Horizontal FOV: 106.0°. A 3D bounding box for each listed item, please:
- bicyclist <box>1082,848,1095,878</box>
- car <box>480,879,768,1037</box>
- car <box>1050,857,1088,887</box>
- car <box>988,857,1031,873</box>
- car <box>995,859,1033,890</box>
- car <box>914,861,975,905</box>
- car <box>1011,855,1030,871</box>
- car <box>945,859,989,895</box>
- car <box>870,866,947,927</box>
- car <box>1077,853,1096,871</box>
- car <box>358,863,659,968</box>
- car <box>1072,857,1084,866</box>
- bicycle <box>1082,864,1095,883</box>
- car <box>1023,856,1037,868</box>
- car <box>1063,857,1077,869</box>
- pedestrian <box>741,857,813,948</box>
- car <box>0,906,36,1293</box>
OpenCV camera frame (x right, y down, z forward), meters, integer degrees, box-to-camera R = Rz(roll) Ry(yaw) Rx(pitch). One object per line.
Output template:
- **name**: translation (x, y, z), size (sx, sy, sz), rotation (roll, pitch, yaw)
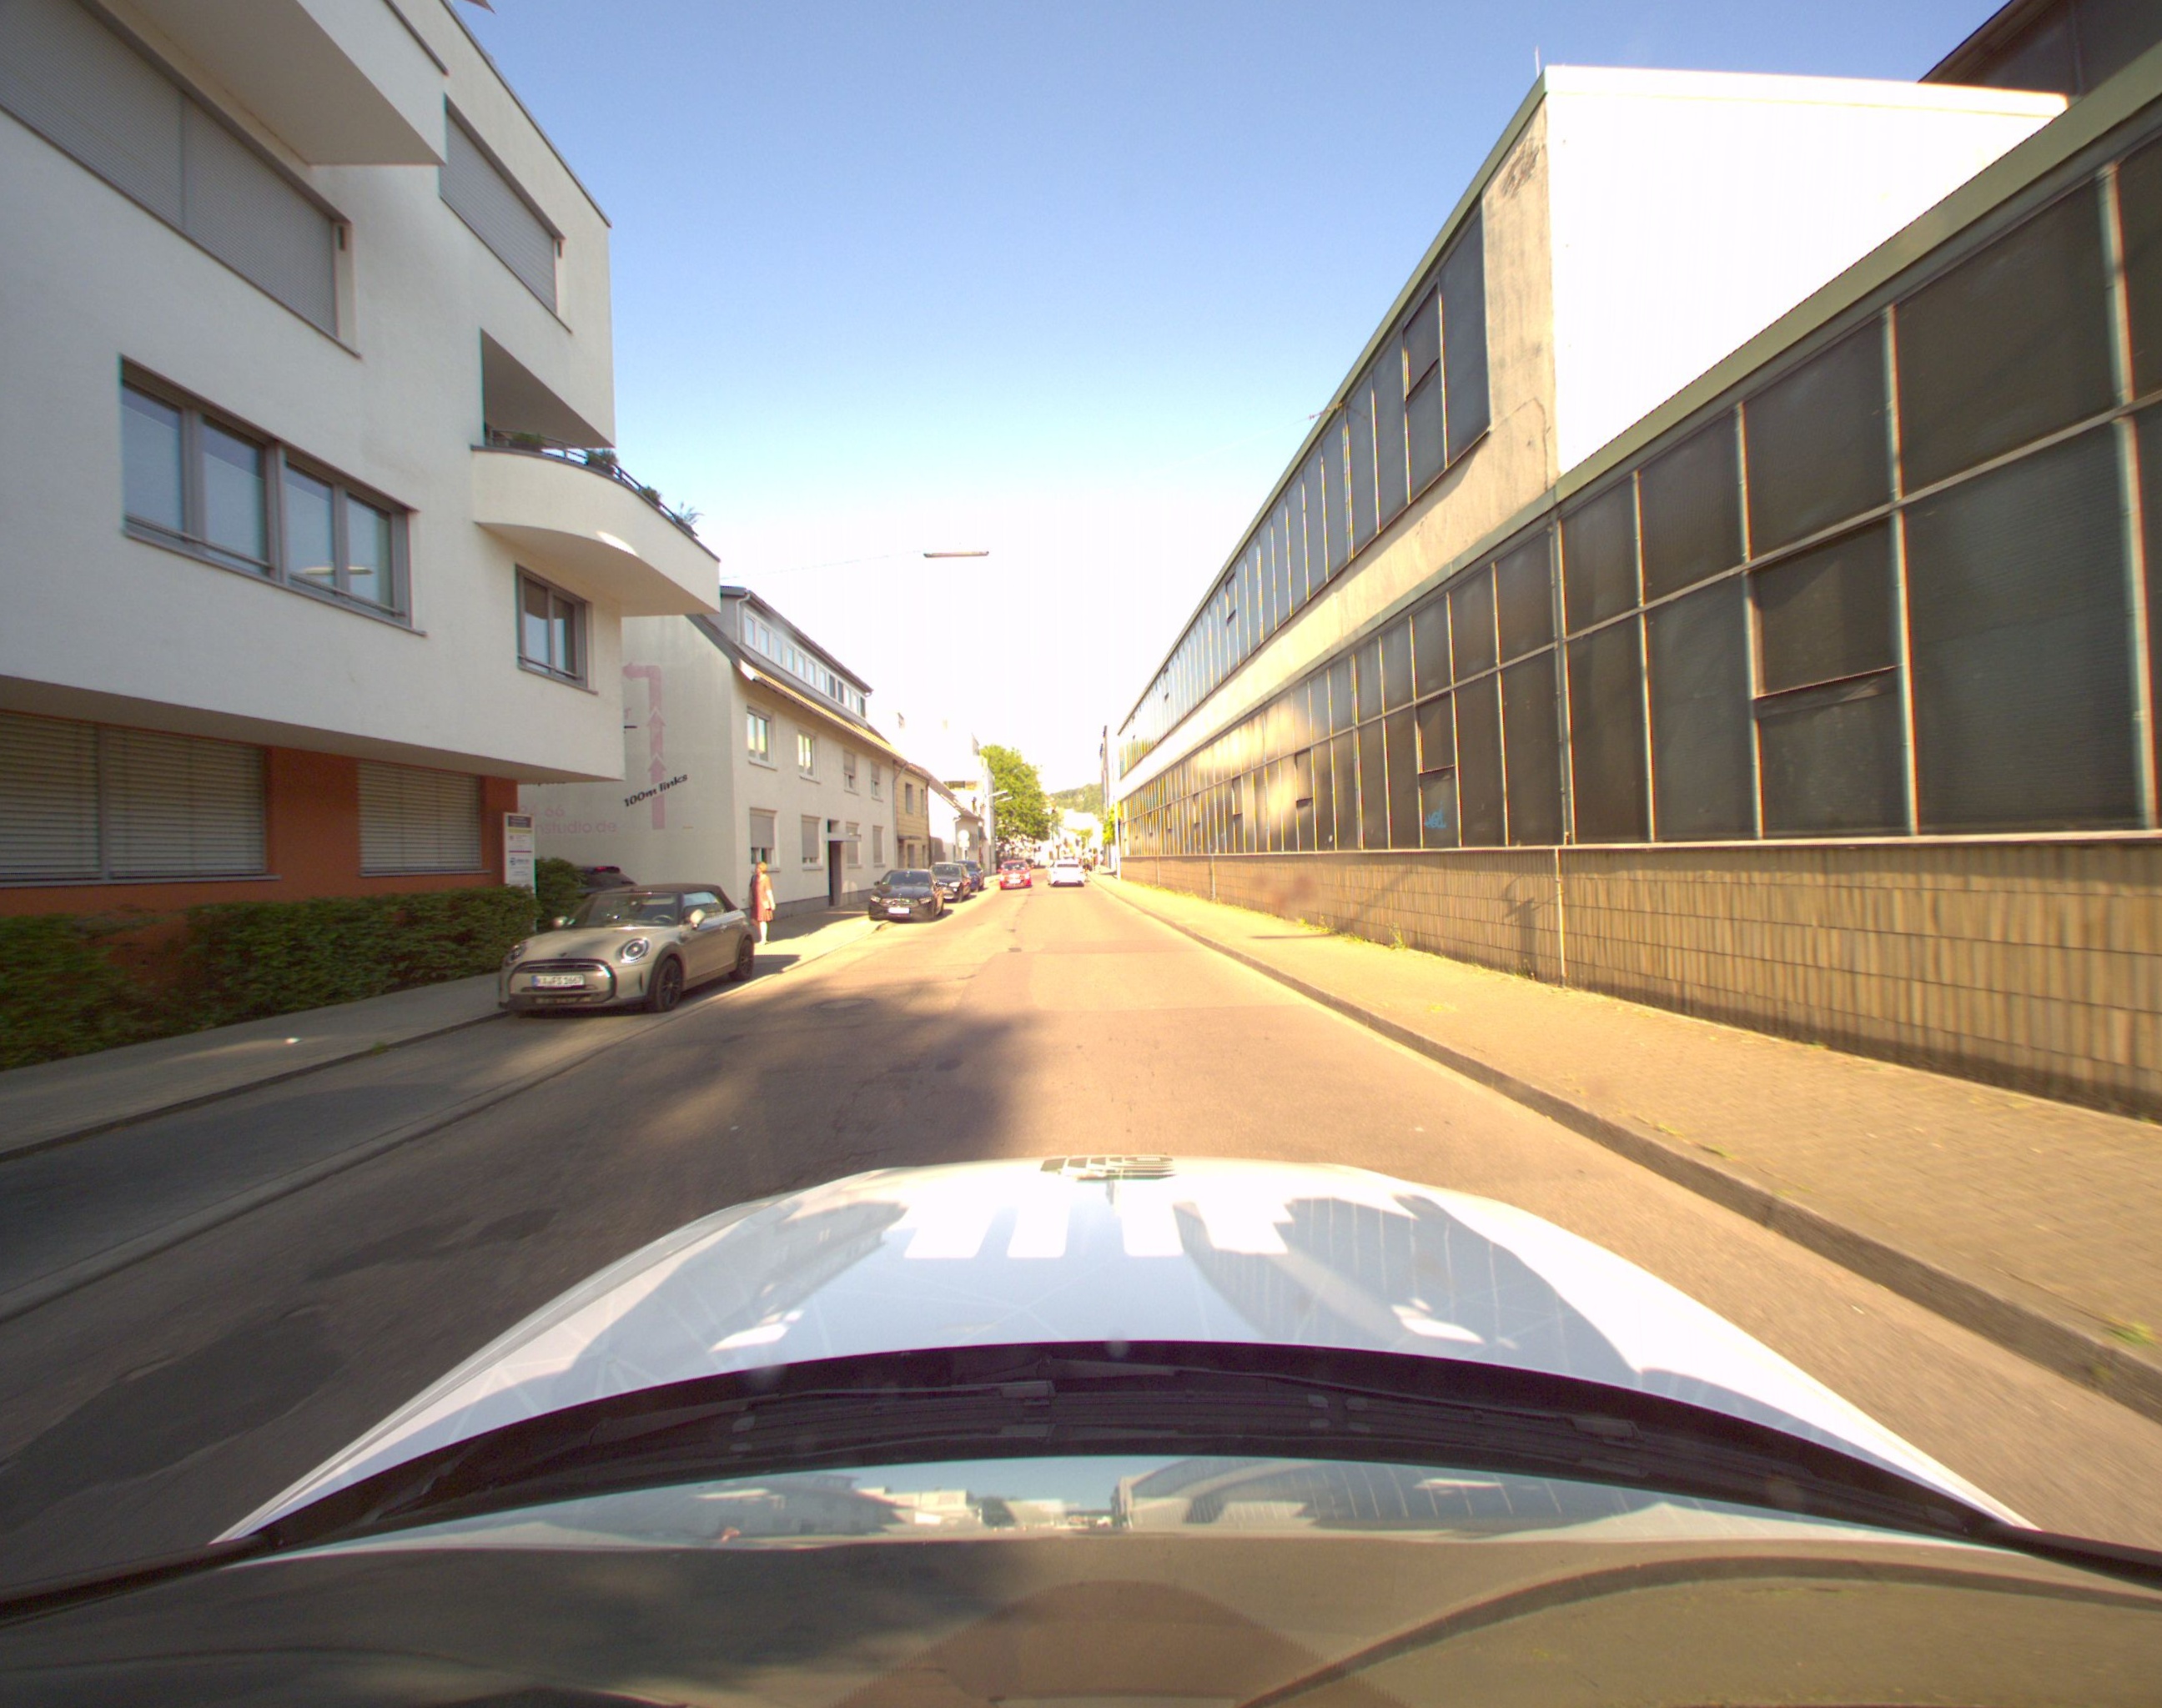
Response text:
- **bicyclist**: translation (0.444, 0.533, 50.147), size (0.696, 1.790, 1.040), rotation (-3, -1, -1)
- **car**: translation (-5.546, 1.151, 10.508), size (1.664, 1.536, 3.852), rotation (-2, -1, -3)
- **car**: translation (-0.714, 0.941, 43.825), size (1.838, 1.491, 4.139), rotation (-3, -1, -3)
- **car**: translation (-7.384, 1.136, 84.069), size (4.112, 1.491, 1.850), rotation (-3, -1, 4)
- **car**: translation (-3.535, 1.066, 43.521), size (1.838, 1.491, 4.140), rotation (-3, -1, -3)
- **car**: translation (-5.533, 1.129, 33.500), size (1.852, 1.587, 4.333), rotation (-1, 1, -1)
- **car**: translation (-7.252, 1.022, 97.403), size (1.847, 1.791, 4.606), rotation (-3, 0, -1)
- **car**: translation (-5.868, 1.159, 42.401), size (1.804, 1.587, 4.189), rotation (-2, 1, -2)
- **car**: translation (-4.866, 1.134, 23.506), size (1.682, 1.535, 4.325), rotation (-1, -1, -6)
- **car**: translation (0.519, 0.788, 80.340), size (1.626, 1.587, 4.065), rotation (-6, 0, -2)
- **car**: translation (-11.670, 1.203, 16.915), size (4.597, 1.638, 2.011), rotation (-4, 0, -4)
- **car**: translation (-0.535, 1.272, 145.105), size (1.835, 1.491, 4.146), rotation (-3, -1, 2)
- **bicycle**: translation (0.465, 1.181, 50.205), size (0.696, 1.130, 2.401), rotation (-3, -1, -1)
- **car**: translation (-7.223, 1.093, 115.721), size (1.700, 1.575, 3.910), rotation (-3, 0, -2)
- **car**: translation (-1.718, 1.332, 123.616), size (1.849, 1.791, 4.600), rotation (-3, 0, -4)
- **pedestrian**: translation (-6.329, 0.976, 17.008), size (0.854, 1.819, 1.138), rotation (0, 0, 21)
- **car**: translation (-5.191, 1.009, 1.087), size (1.855, 1.587, 4.612), rotation (-1, -1, -5)
